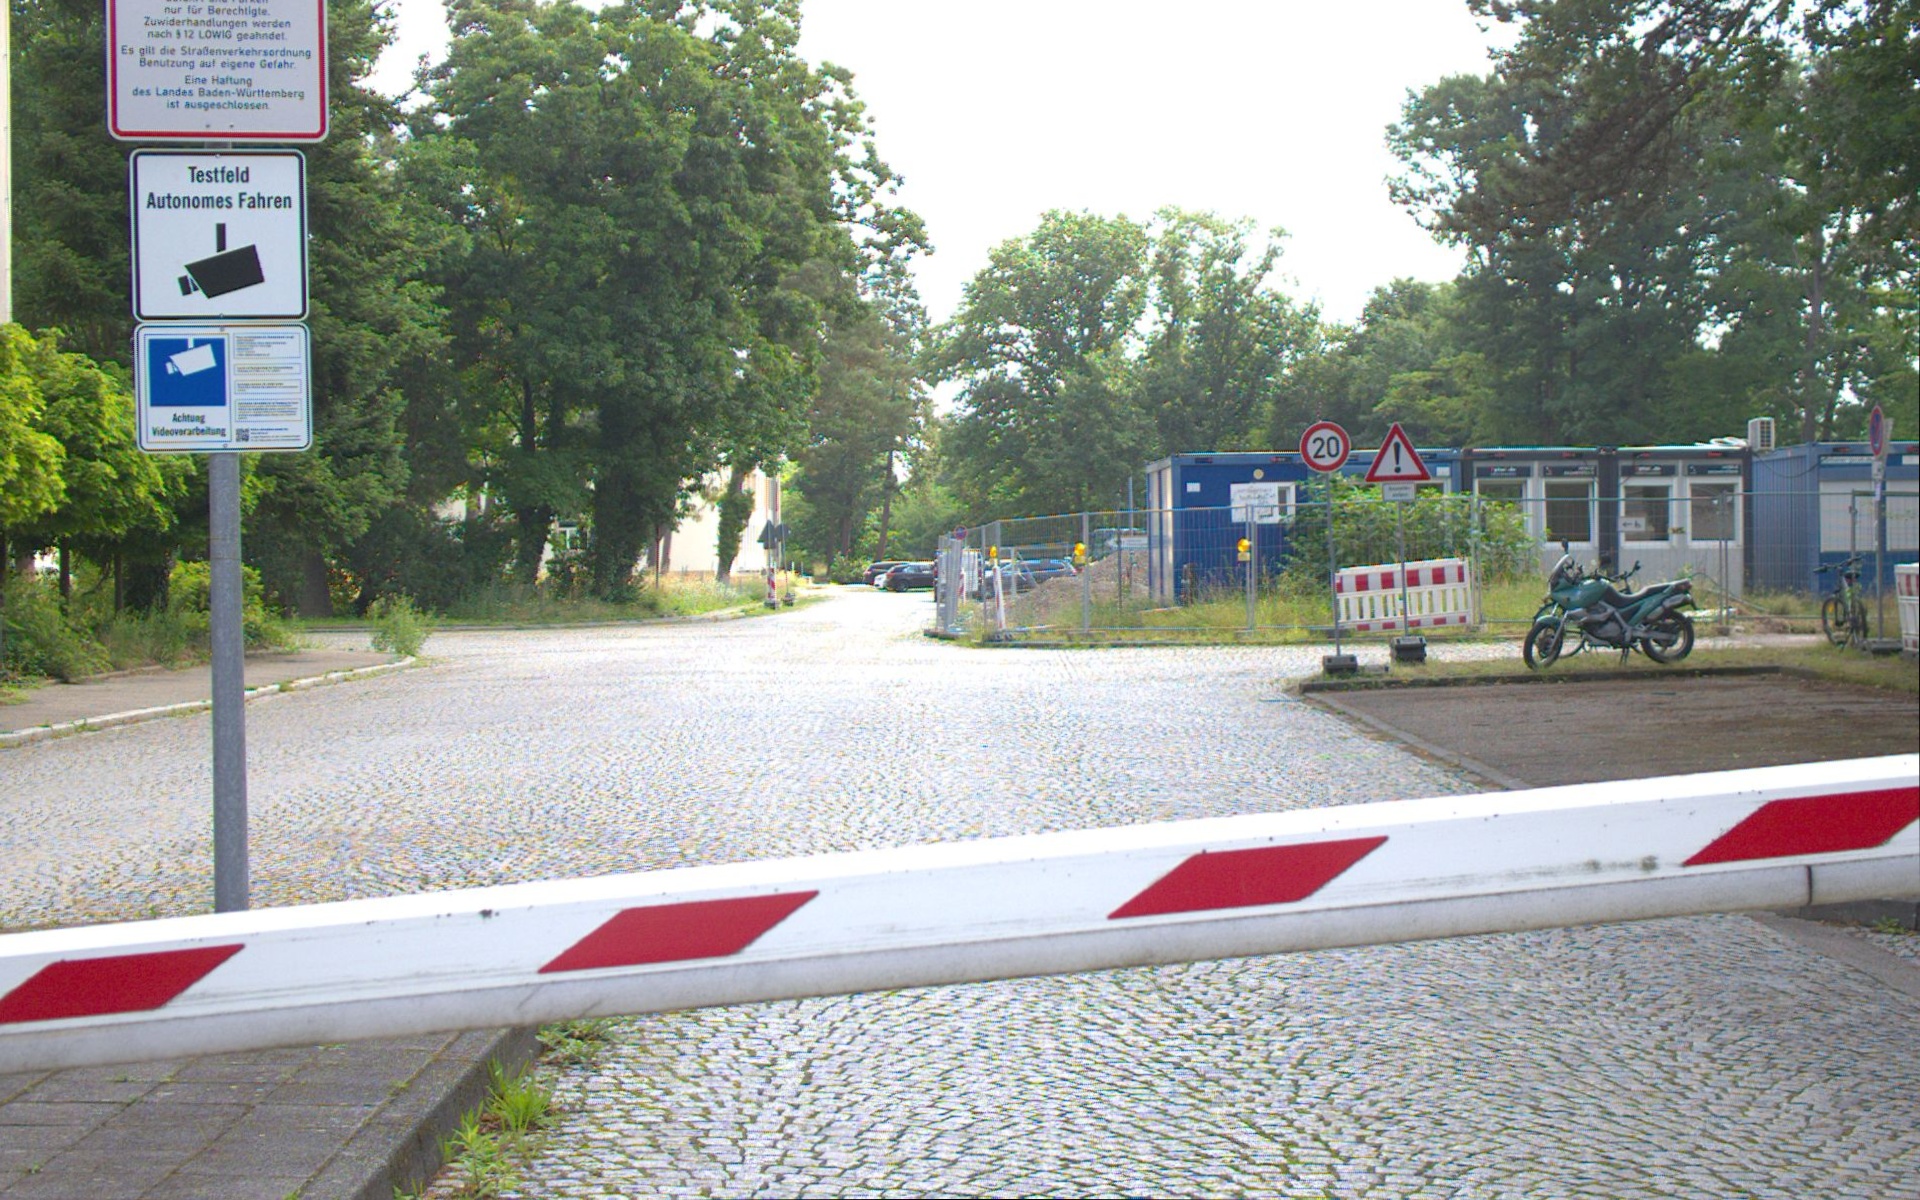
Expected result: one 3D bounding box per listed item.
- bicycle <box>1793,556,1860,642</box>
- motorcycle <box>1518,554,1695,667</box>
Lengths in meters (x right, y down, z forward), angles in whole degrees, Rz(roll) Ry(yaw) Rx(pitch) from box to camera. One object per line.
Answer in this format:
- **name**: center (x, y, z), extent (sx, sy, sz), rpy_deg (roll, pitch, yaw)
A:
- **bicycle**: center (10.493, -0.003, 41.657), extent (0.332, 1.004, 1.726), rpy_deg (-1, -1, -1)
- **motorcycle**: center (7.540, 0.120, 40.119), extent (1.956, 1.191, 0.461), rpy_deg (-2, 6, -1)
